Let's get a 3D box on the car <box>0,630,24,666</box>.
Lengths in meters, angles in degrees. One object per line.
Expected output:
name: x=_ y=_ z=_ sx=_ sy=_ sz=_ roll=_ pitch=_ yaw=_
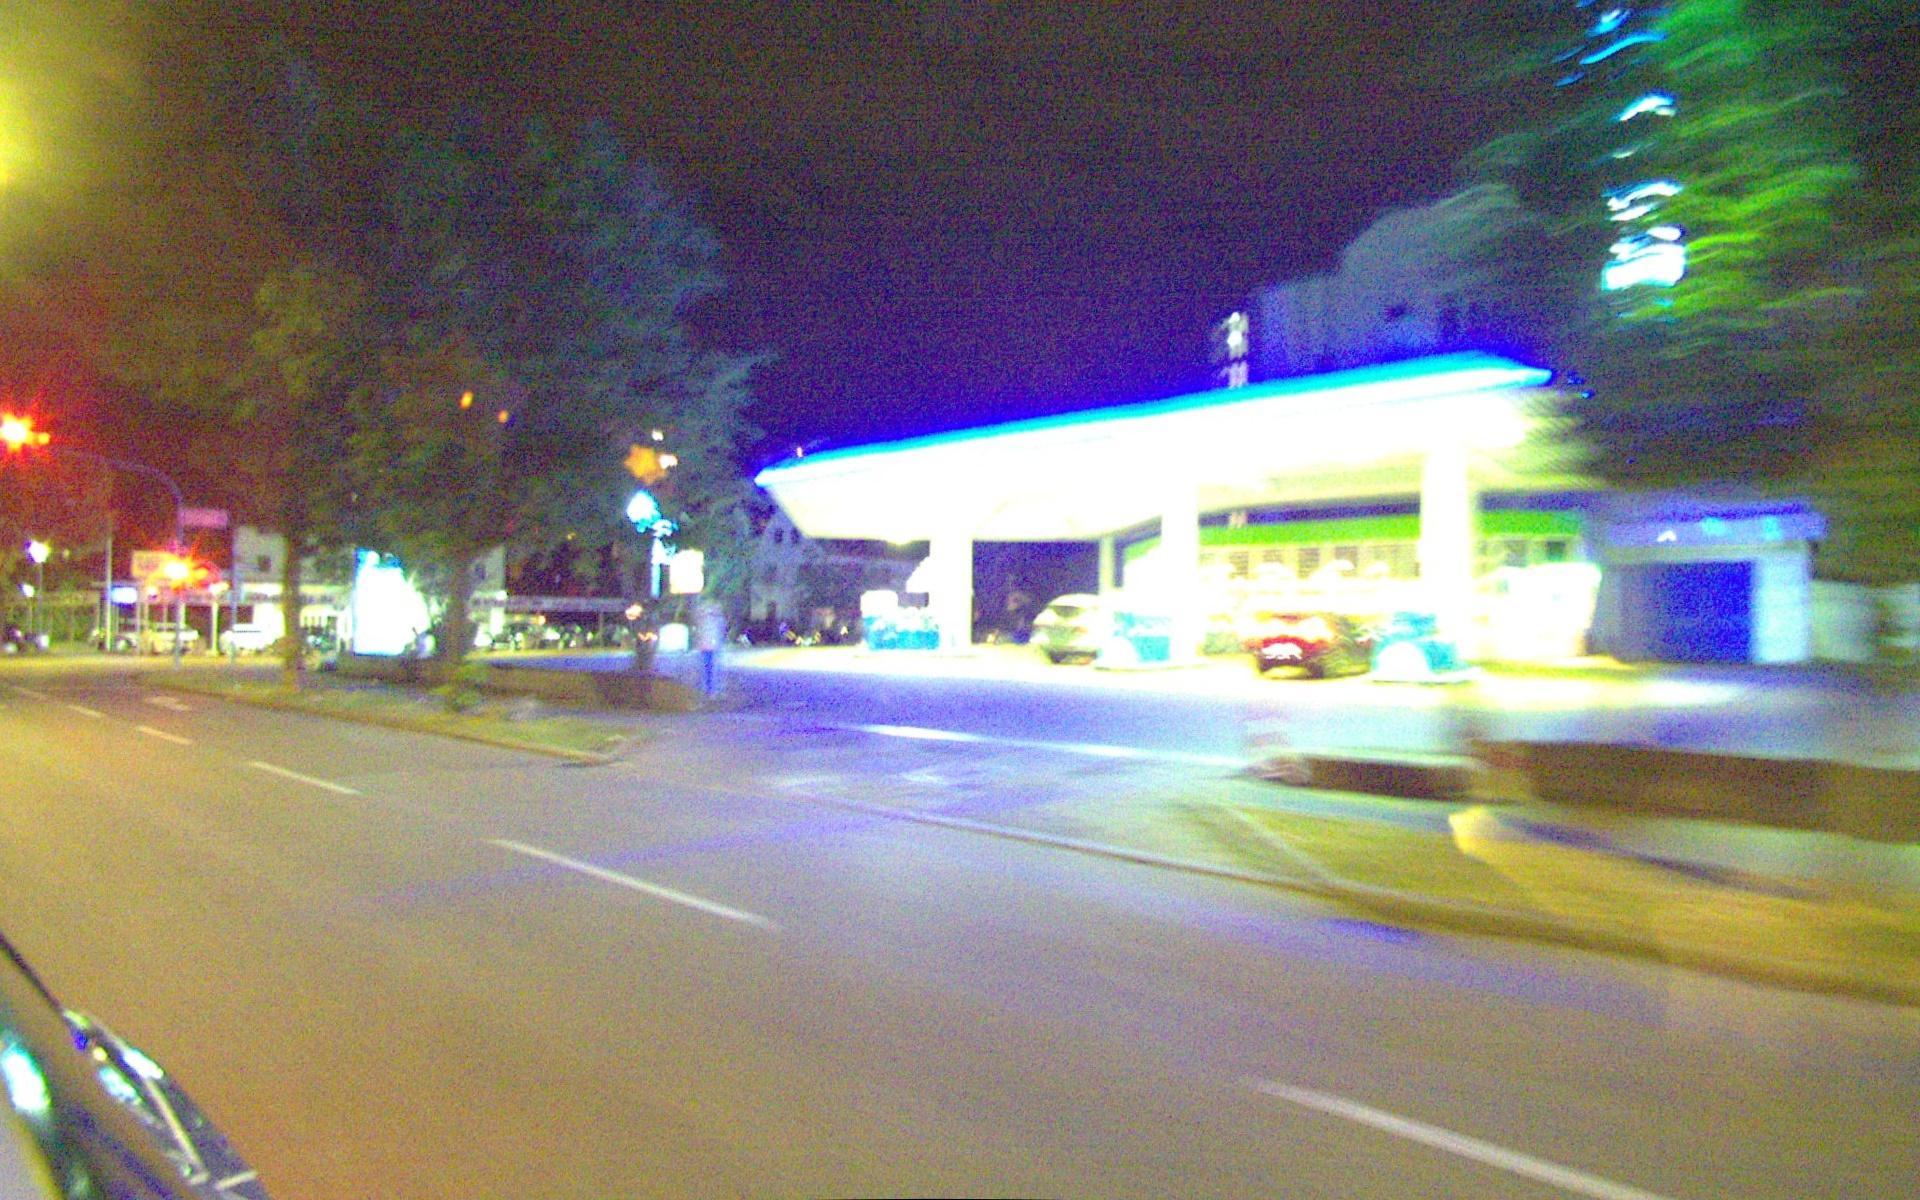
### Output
car: x=-44.300 y=2.124 z=44.966 sx=1.632 sy=1.598 sz=3.717 roll=-1 pitch=-3 yaw=37

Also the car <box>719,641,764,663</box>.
car: x=-16.237 y=3.839 z=75.122 sx=3.412 sy=1.512 sz=1.589 roll=-1 pitch=-1 yaw=41

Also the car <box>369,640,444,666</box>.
car: x=-34.589 y=3.314 z=63.370 sx=1.716 sy=1.489 sz=4.257 roll=0 pitch=-1 yaw=13

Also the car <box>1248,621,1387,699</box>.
car: x=7.836 y=1.230 z=22.026 sx=1.669 sy=1.544 sz=3.712 roll=-1 pitch=-2 yaw=40

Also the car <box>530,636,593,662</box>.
car: x=-24.249 y=2.969 z=61.503 sx=4.083 sy=1.489 sz=1.840 roll=-1 pitch=-2 yaw=40

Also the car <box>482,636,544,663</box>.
car: x=-26.241 y=2.893 z=59.330 sx=4.083 sy=1.489 sz=1.710 roll=-1 pitch=-2 yaw=40

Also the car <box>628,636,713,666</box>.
car: x=-15.849 y=2.761 z=55.533 sx=1.685 sy=1.571 sz=4.257 roll=-2 pitch=-2 yaw=40

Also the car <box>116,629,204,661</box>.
car: x=-44.255 y=2.496 z=56.053 sx=1.633 sy=1.712 sz=3.530 roll=-1 pitch=-3 yaw=40

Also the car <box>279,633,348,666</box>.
car: x=-33.185 y=2.492 z=51.920 sx=4.067 sy=1.565 sz=1.840 roll=-1 pitch=-2 yaw=40

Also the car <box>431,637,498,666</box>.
car: x=-28.083 y=2.876 z=57.349 sx=4.350 sy=1.489 sz=1.840 roll=-1 pitch=-2 yaw=40

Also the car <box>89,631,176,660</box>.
car: x=-47.012 y=2.587 z=57.526 sx=1.632 sy=1.598 sz=3.531 roll=-1 pitch=-3 yaw=39

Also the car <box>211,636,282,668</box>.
car: x=-34.766 y=2.492 z=49.293 sx=4.067 sy=1.472 sz=1.840 roll=-1 pitch=-2 yaw=40

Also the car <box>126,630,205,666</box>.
car: x=-36.955 y=2.189 z=47.030 sx=4.383 sy=1.569 sz=1.974 roll=-1 pitch=-2 yaw=39

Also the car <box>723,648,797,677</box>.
car: x=-10.979 y=3.416 z=55.790 sx=1.735 sy=1.422 sz=3.803 roll=-1 pitch=-1 yaw=39

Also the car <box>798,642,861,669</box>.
car: x=-7.724 y=3.257 z=60.047 sx=1.680 sy=1.422 sz=3.524 roll=-1 pitch=-1 yaw=39

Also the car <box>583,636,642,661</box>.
car: x=-21.954 y=3.052 z=63.863 sx=4.024 sy=1.489 sz=1.758 roll=-1 pitch=-2 yaw=40

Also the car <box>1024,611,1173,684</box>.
car: x=3.785 y=1.198 z=27.086 sx=1.977 sy=1.740 sz=4.302 roll=-1 pitch=-1 yaw=40
